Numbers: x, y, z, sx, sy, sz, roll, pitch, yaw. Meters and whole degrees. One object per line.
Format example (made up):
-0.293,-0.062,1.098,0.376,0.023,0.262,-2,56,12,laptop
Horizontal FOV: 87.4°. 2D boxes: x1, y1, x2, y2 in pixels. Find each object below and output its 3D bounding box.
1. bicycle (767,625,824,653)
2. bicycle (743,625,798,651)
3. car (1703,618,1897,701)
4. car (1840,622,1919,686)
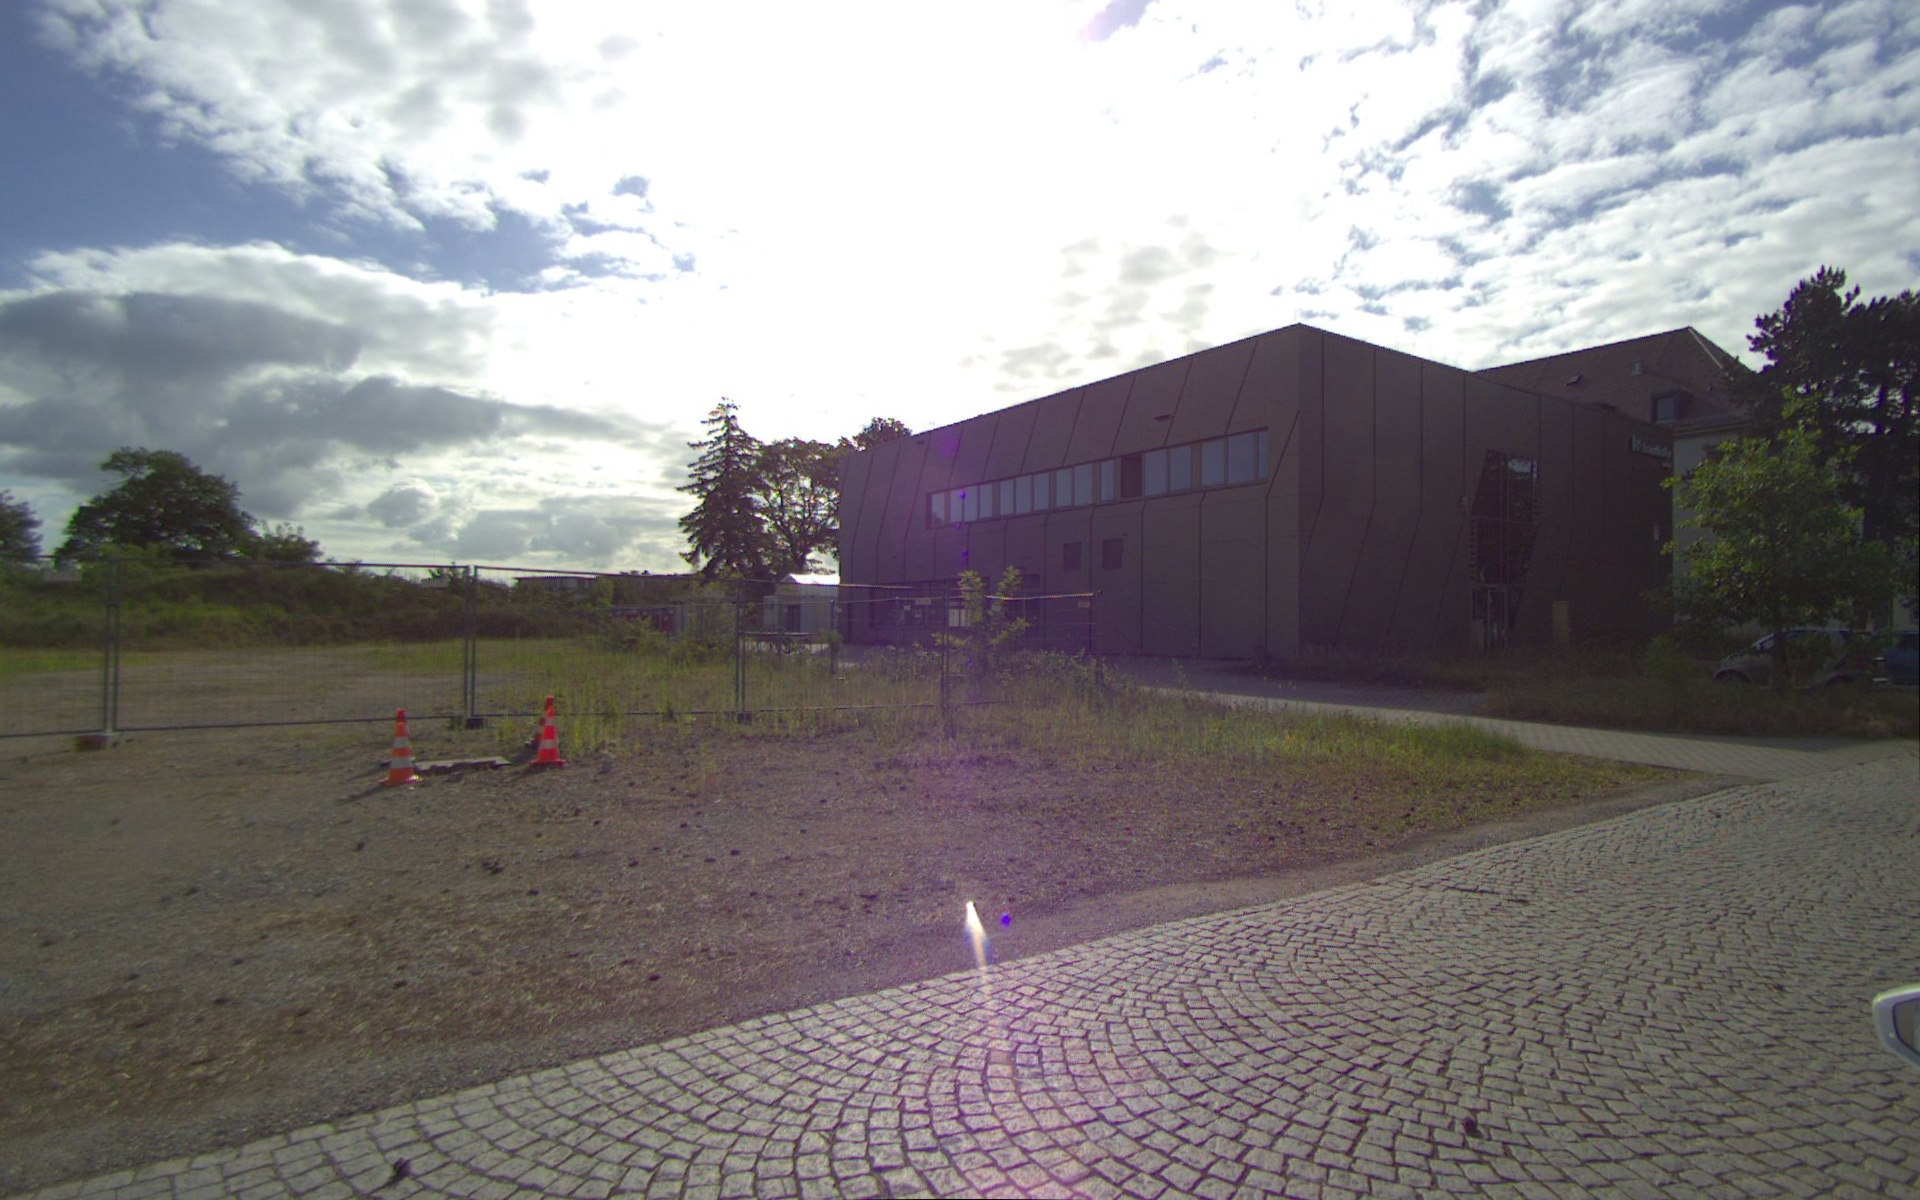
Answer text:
-6.561,1.538,40.170,2.050,1.101,0.936,1,-1,-37,bicycle
-7.903,1.584,41.961,2.050,1.058,0.936,1,-1,-37,bicycle
17.123,1.161,20.584,1.408,1.570,2.747,1,-1,-30,car
23.403,1.327,24.221,1.479,1.477,3.059,1,1,-39,car
